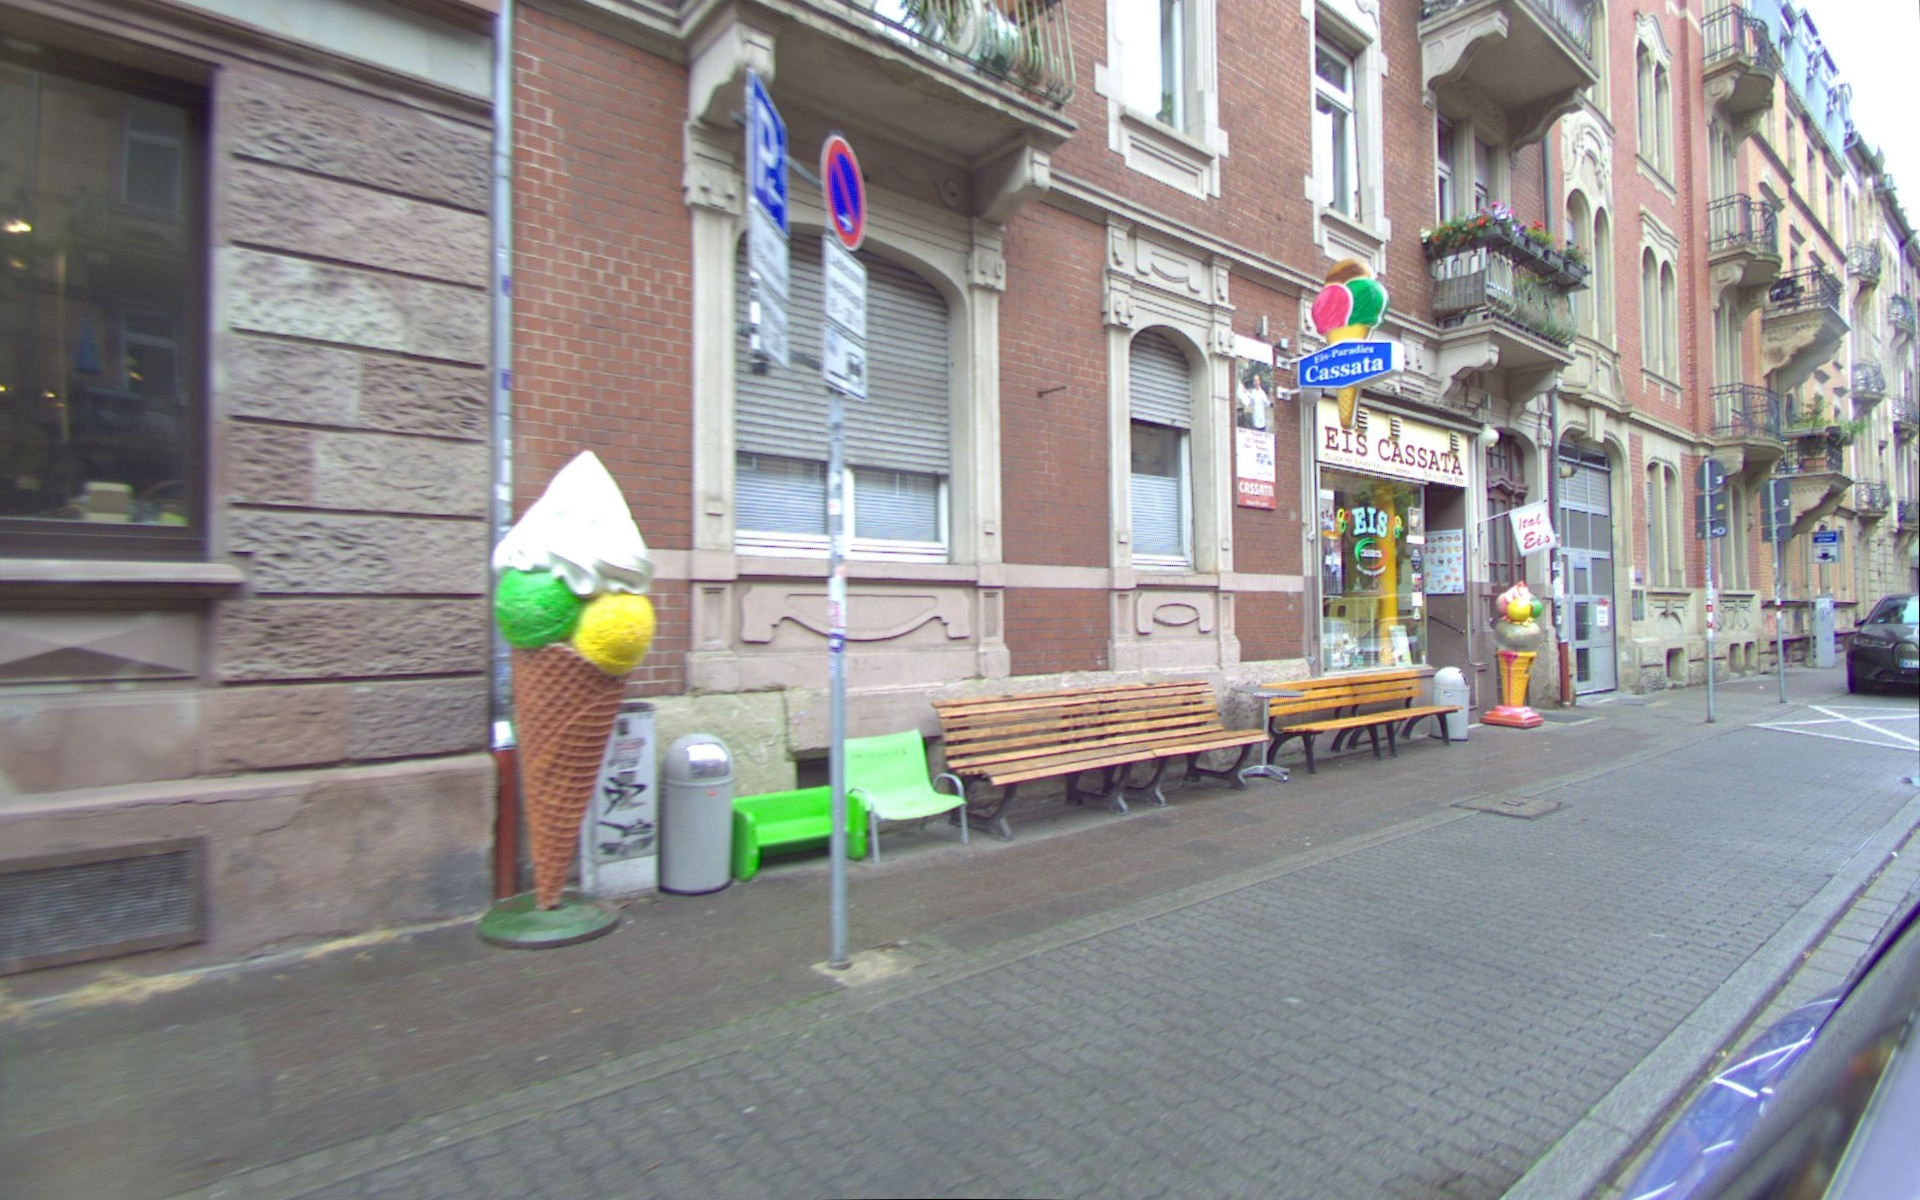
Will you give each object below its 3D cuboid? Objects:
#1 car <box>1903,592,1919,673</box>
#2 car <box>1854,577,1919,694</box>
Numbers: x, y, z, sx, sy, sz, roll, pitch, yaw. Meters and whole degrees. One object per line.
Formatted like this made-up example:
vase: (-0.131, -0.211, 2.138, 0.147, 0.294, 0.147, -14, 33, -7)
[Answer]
car: (20.902, 0.642, 20.685, 4.267, 1.581, 1.875, 0, 0, -40)
car: (16.724, 0.535, 17.012, 4.743, 1.802, 1.996, 0, 0, -42)
